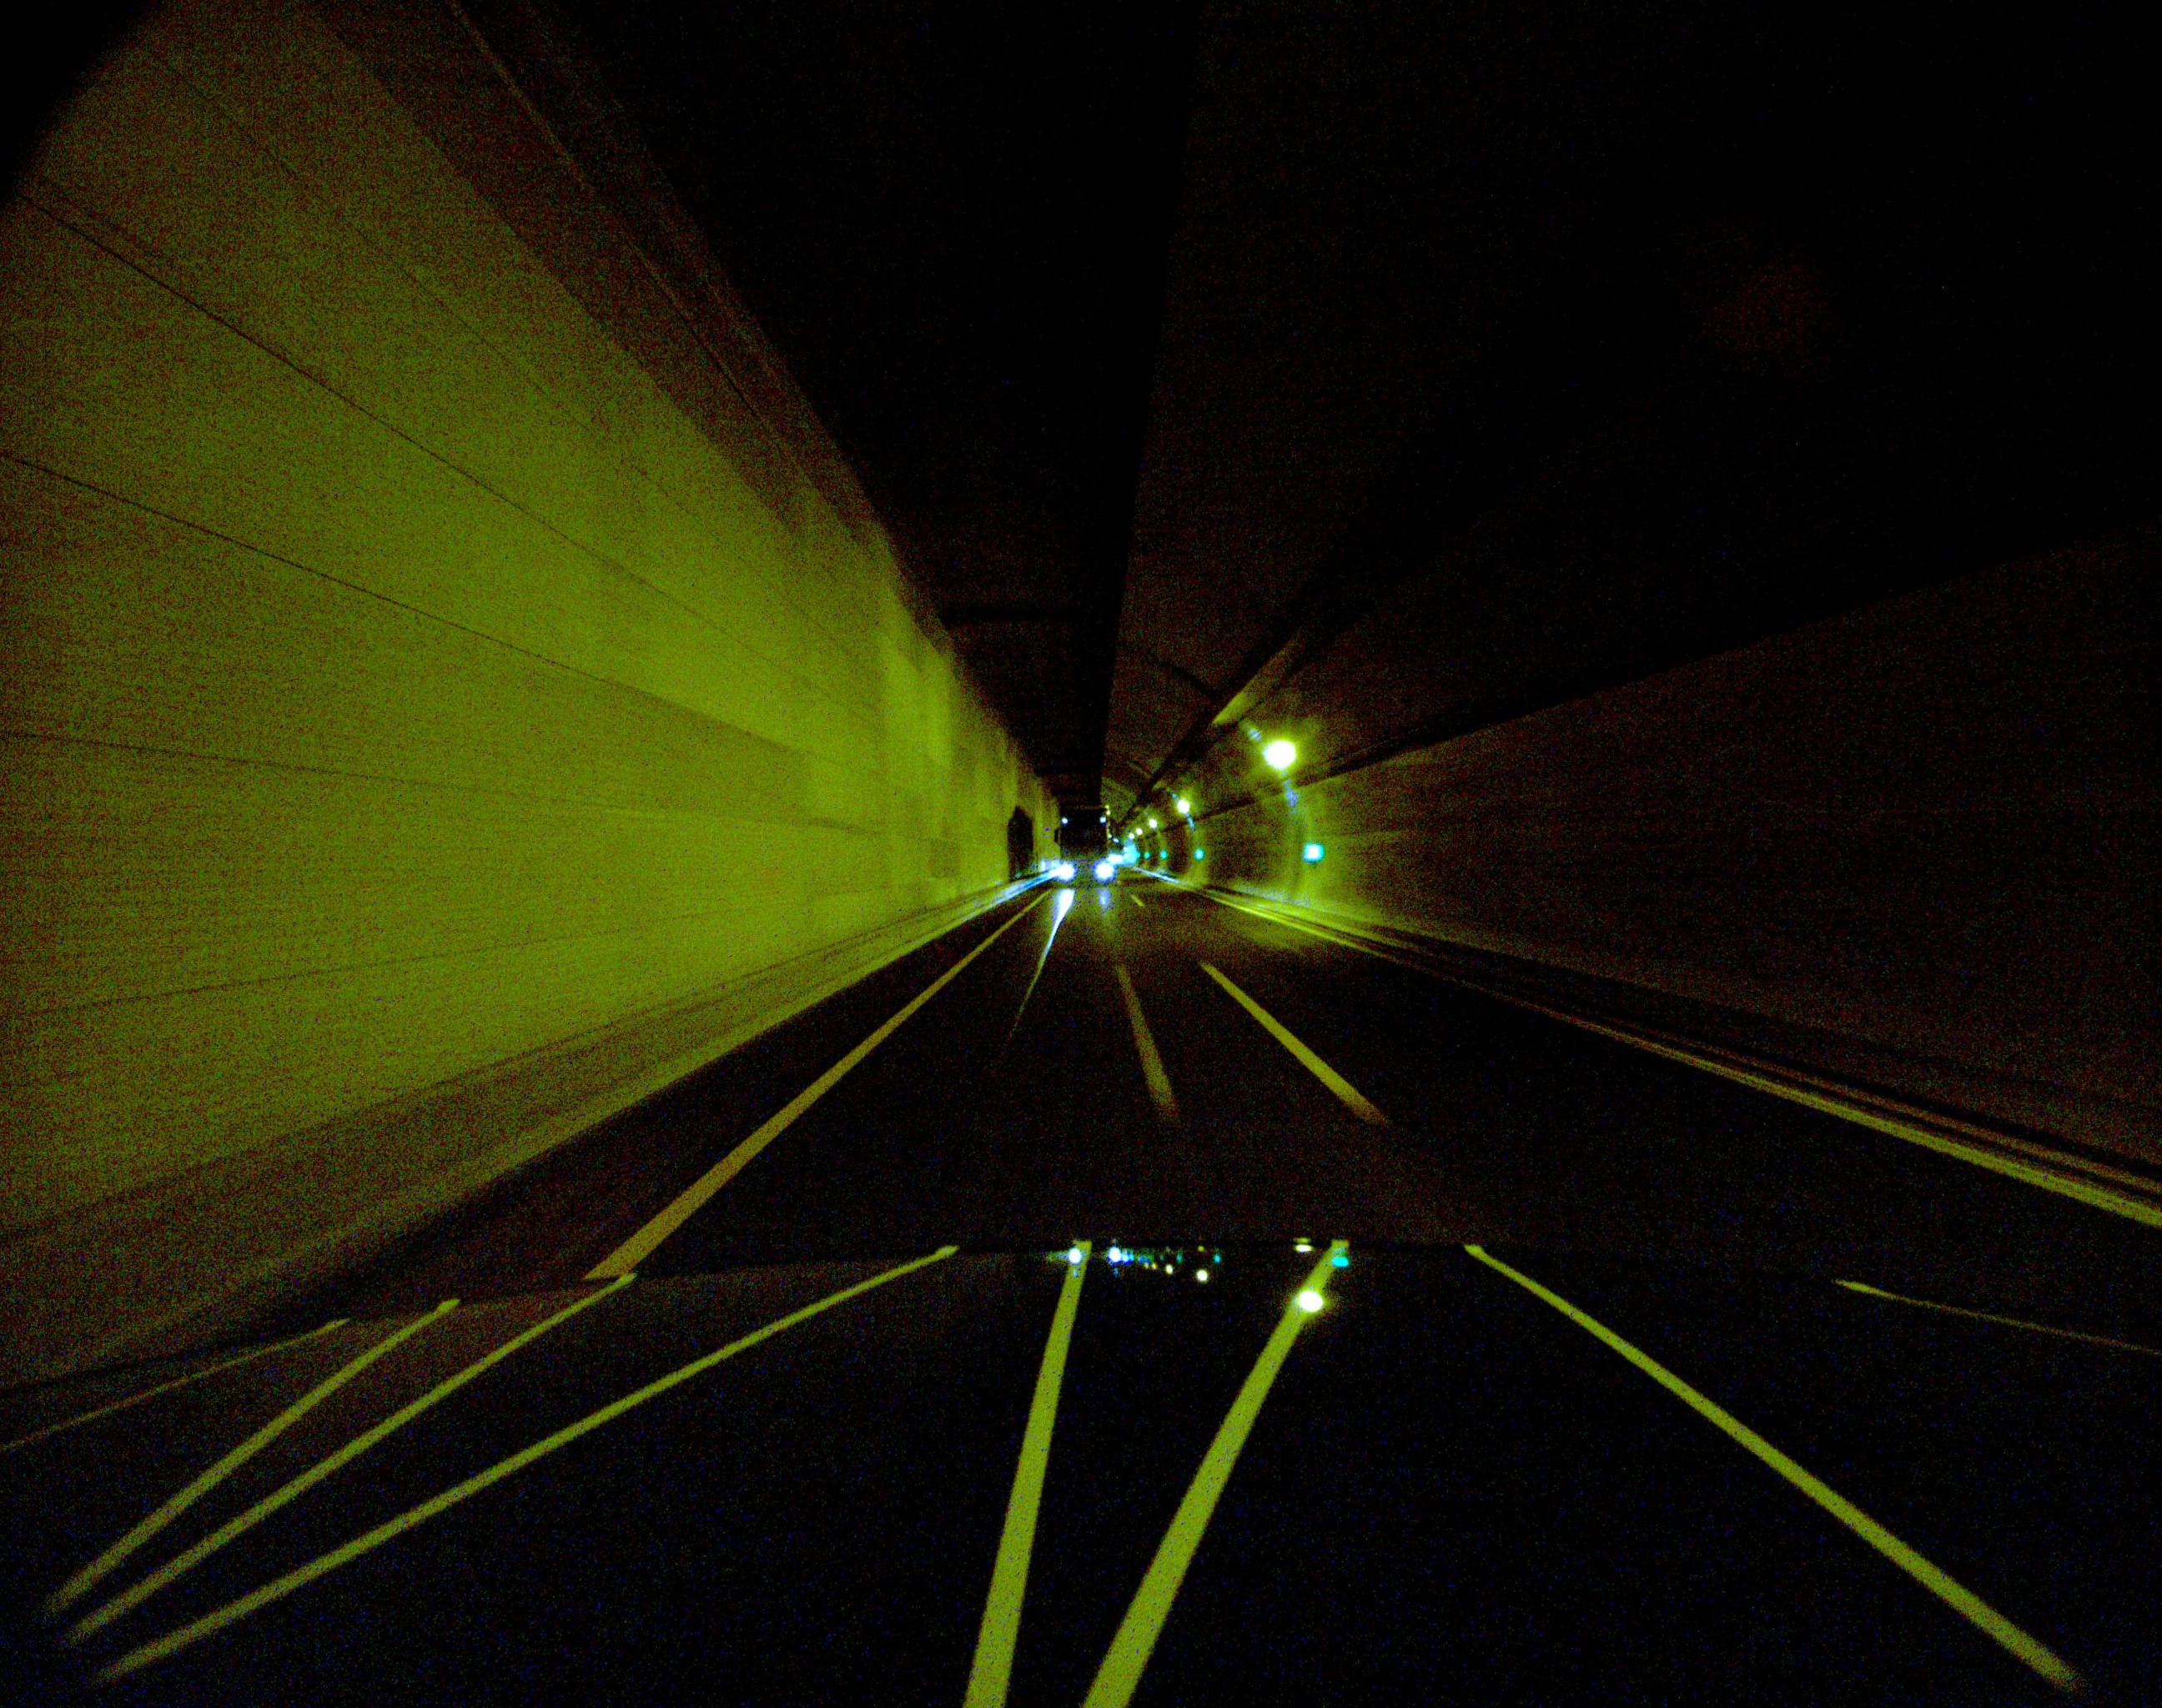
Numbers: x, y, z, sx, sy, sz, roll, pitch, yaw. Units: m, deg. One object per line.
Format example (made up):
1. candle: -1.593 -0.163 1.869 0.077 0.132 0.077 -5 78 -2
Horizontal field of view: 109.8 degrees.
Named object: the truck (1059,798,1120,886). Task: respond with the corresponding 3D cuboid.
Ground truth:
1. truck: 0.455 -0.610 40.866 2.769 4.198 7.976 -2 1 0
